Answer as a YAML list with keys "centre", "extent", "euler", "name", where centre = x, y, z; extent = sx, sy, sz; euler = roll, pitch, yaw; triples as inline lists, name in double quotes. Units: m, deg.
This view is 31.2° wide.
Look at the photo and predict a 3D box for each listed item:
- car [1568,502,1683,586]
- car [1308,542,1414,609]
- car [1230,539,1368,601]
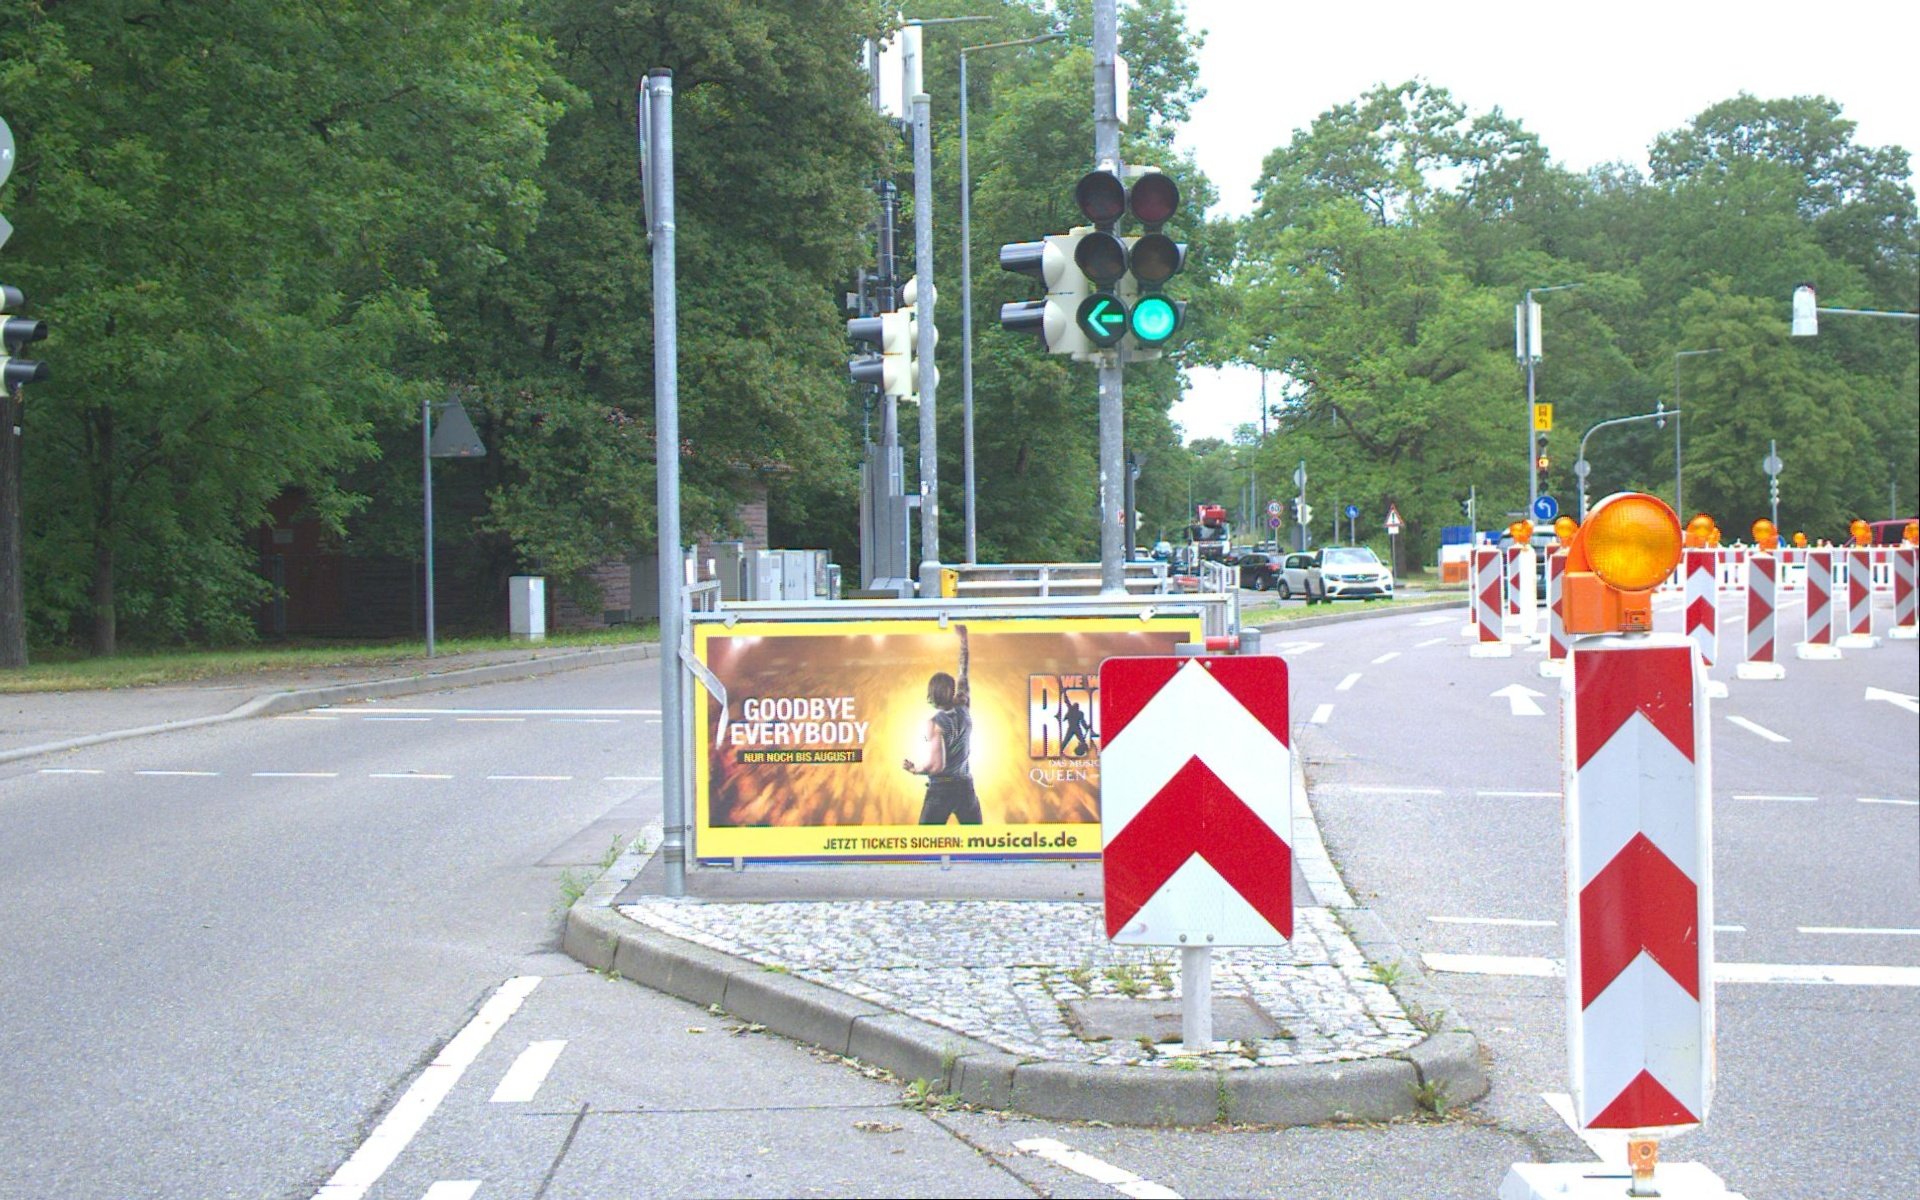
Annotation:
- centre: [14.258, -1.184, 73.554]
  extent: [1.798, 1.732, 3.699]
  euler: [1, 1, 21]
  name: "car"
- centre: [10.850, -0.670, 92.768]
  extent: [1.995, 1.744, 4.575]
  euler: [1, 1, 18]
  name: "car"
- centre: [10.647, -0.946, 108.217]
  extent: [1.994, 1.875, 3.998]
  euler: [0, 1, -43]
  name: "car"
